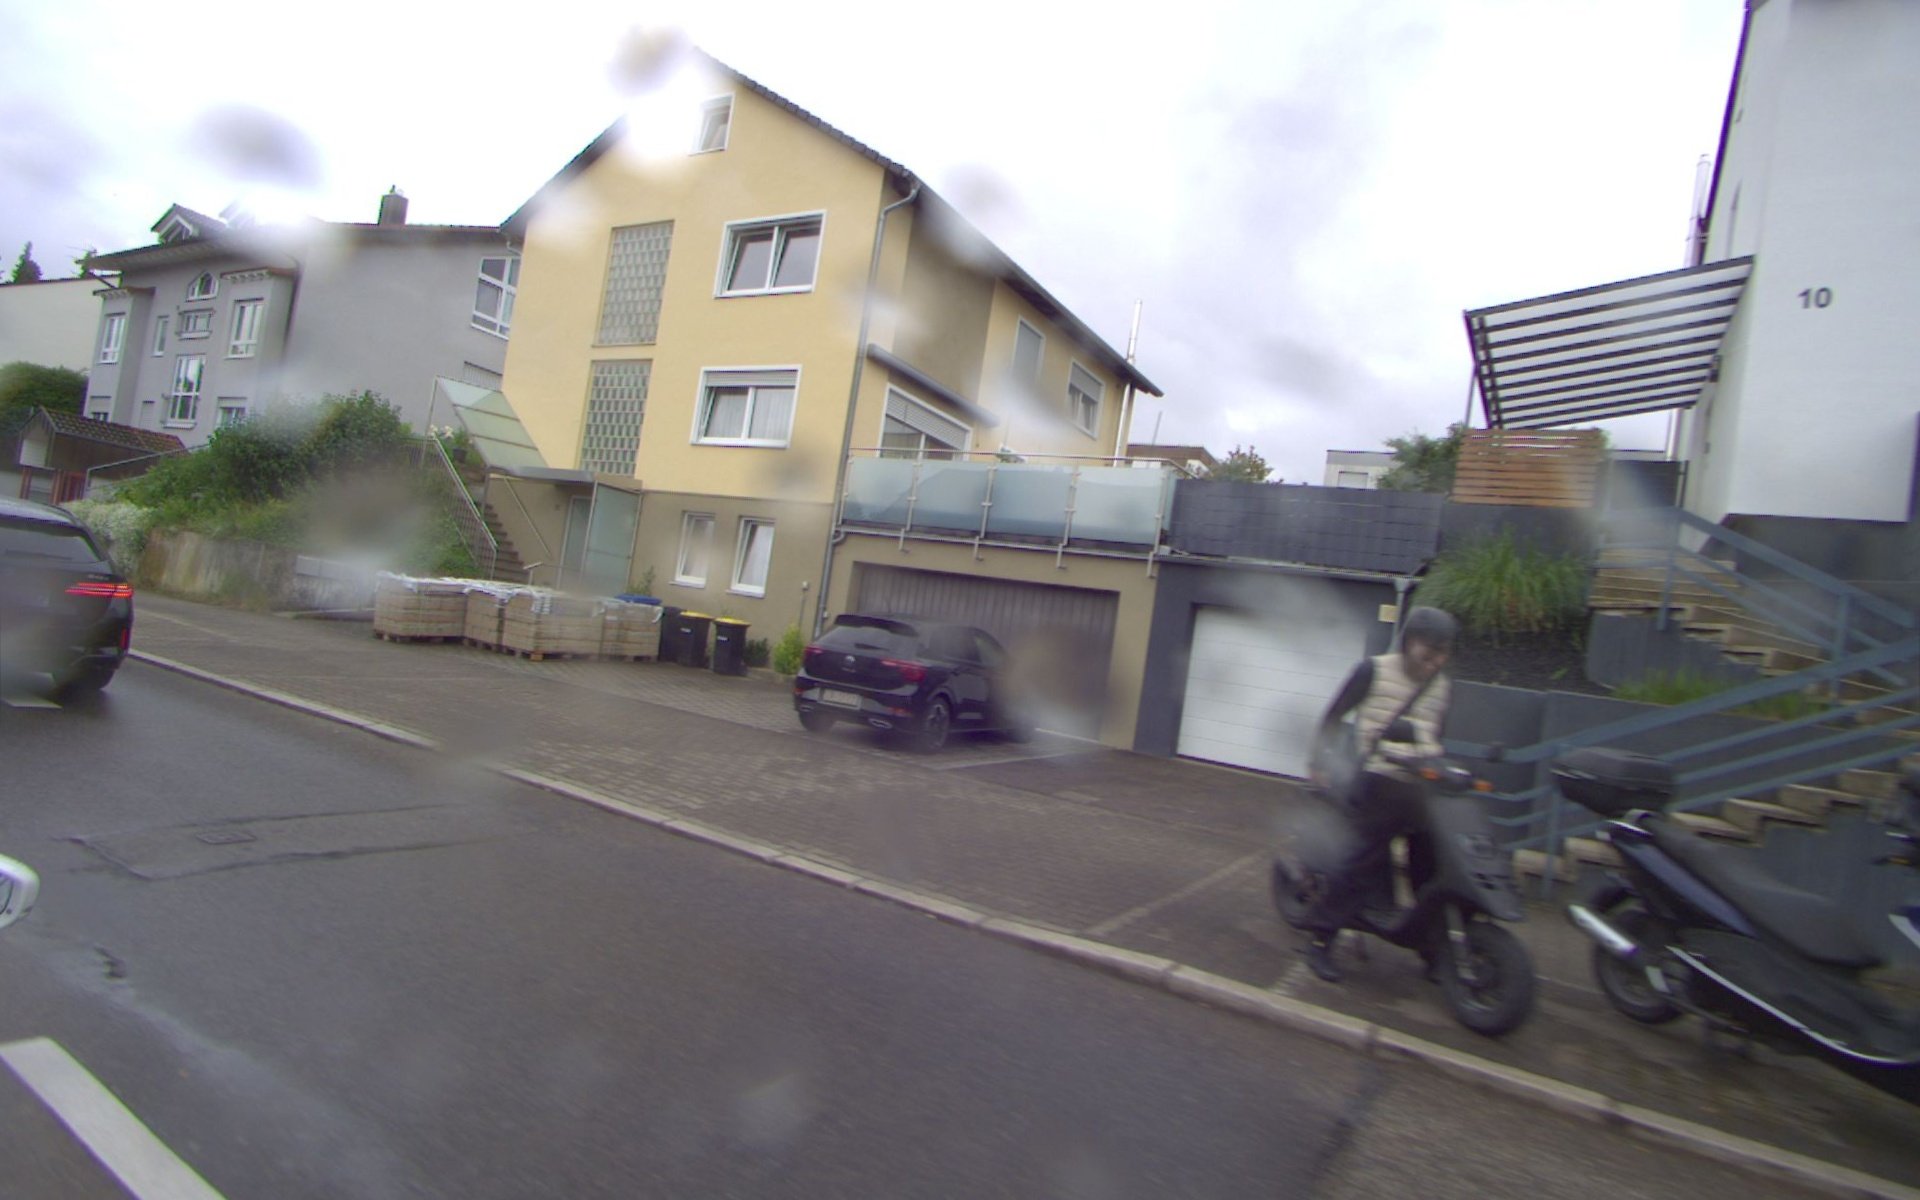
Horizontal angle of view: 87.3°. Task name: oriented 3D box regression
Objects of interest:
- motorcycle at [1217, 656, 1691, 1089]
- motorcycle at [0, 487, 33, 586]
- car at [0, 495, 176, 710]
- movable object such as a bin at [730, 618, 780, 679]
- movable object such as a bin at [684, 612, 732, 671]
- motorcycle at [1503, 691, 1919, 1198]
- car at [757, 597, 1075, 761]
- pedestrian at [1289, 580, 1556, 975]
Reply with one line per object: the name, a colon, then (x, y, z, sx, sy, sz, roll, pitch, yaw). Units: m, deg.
motorcycle: (2.123, 1.087, 4.772, 0.747, 1.467, 2.086, 8, -2, -12)
motorcycle: (-15.978, -1.104, 16.372, 2.115, 1.528, 0.704, 7, 1, 32)
car: (-8.445, -0.176, 8.220, 3.936, 1.500, 1.997, 7, -2, 34)
movable object such as a bin: (-3.545, 0.835, 17.390, 0.533, 0.959, 0.491, 7, -2, 31)
movable object such as a bin: (-4.484, 0.749, 17.921, 0.533, 0.959, 0.491, 7, -2, 31)
motorcycle: (3.427, 1.253, 4.115, 0.809, 1.468, 2.085, 8, -1, -12)
car: (-0.333, 0.951, 12.107, 1.837, 1.450, 3.995, 7, -1, 30)
pedestrian: (2.167, 0.793, 4.808, 0.612, 1.668, 0.831, 8, -1, -11)
